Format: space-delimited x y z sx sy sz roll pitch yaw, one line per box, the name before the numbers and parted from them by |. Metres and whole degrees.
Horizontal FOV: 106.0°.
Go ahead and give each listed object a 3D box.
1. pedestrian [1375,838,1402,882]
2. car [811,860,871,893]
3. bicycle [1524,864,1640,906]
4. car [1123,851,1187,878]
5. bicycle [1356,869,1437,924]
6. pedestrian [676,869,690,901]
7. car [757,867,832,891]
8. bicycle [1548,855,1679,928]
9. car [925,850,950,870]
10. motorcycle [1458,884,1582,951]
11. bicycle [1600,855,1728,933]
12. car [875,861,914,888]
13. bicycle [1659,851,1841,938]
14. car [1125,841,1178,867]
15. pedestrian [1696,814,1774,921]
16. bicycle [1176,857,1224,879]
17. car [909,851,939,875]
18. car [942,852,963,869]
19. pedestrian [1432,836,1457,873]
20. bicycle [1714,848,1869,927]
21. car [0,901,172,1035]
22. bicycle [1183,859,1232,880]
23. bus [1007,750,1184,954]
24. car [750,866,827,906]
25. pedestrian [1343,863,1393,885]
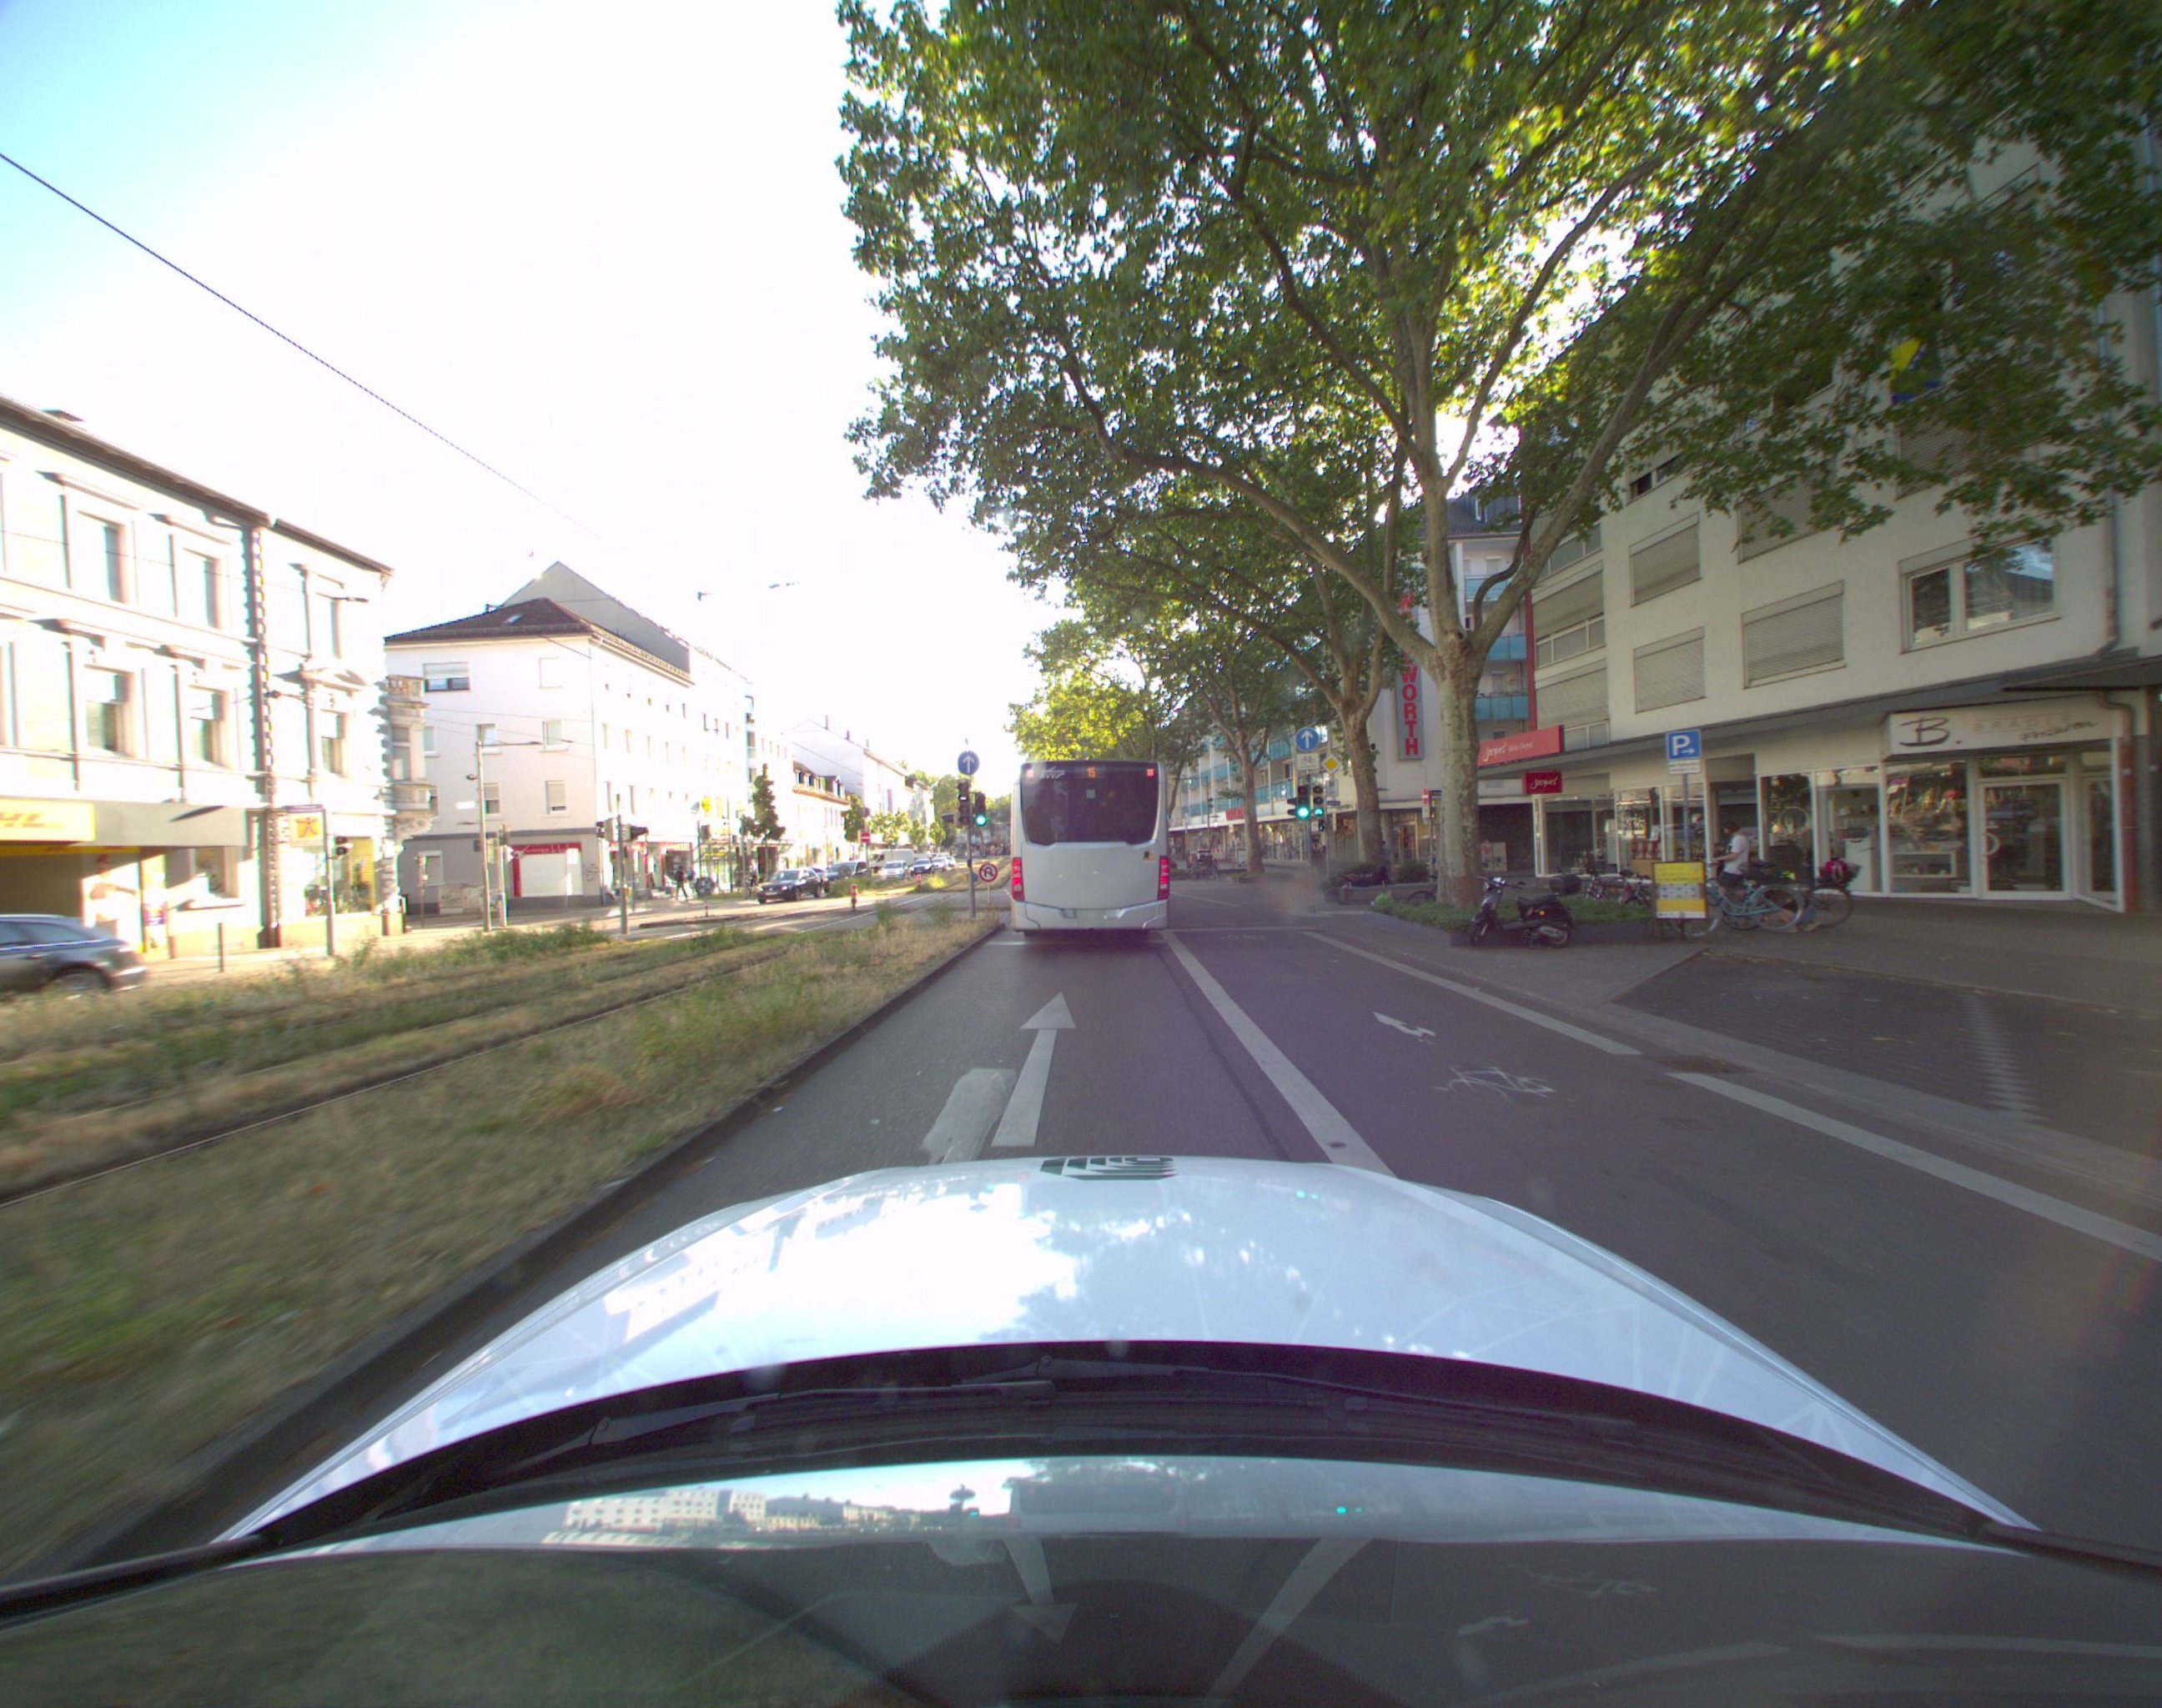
pedestrian | 12.747 0.253 33.807 0.777 1.794 0.764 -2 0 1
car | -13.670 1.250 46.723 1.773 1.615 4.513 -3 0 3
bicycle | 10.137 0.625 16.546 1.865 0.765 0.713 -2 0 9
car | 4.730 0.657 51.780 1.975 1.530 4.024 -3 0 44
bicycle | 6.597 0.881 17.066 1.503 1.105 0.460 1 0 1
pedestrian | -21.606 1.683 44.221 0.424 1.713 0.509 -2 -1 5
car | -19.975 1.701 56.811 4.571 1.412 1.978 -2 0 -35
bicycle | 10.046 0.694 15.415 1.865 1.189 0.713 -5 -1 9
car | -15.300 0.605 87.127 1.988 2.013 3.998 -2 0 -1
motorcycle | 6.601 0.945 12.281 1.566 0.892 0.544 -3 -1 -2
bicycle | 10.286 0.690 14.401 1.784 1.189 0.670 -5 -1 -7
car | -13.534 1.466 59.282 1.892 1.804 3.998 -2 0 -1
bicycle | 10.574 0.632 12.936 2.070 1.233 0.833 -3 0 6
car | 5.820 0.004 66.794 4.020 1.969 1.977 -2 0 -39
pedestrian | 11.888 0.236 14.820 0.643 1.876 0.821 -2 0 -12
bicycle | 6.264 0.735 42.938 2.308 1.028 0.835 -2 1 -7
car | -14.215 0.823 73.967 1.988 2.013 3.998 -2 0 -1
car | -15.983 0.823 101.741 1.988 2.013 3.998 -2 0 -1
pedestrian | 16.757 0.012 37.549 0.746 1.679 0.834 -2 2 -5
bicycle | 11.554 0.539 13.300 1.753 1.154 0.680 -4 -1 10
car | -14.471 1.513 9.619 1.986 1.559 4.776 -2 0 1
bicycle | 6.460 0.803 41.726 2.308 0.939 0.835 -2 1 -7
bus | 0.290 -0.040 16.105 2.668 3.083 7.115 -1 0 1
car | -13.355 1.411 37.468 1.773 1.450 4.048 -4 1 3
pedestrian | 8.142 0.560 23.130 1.250 0.589 0.482 -1 0 -1
